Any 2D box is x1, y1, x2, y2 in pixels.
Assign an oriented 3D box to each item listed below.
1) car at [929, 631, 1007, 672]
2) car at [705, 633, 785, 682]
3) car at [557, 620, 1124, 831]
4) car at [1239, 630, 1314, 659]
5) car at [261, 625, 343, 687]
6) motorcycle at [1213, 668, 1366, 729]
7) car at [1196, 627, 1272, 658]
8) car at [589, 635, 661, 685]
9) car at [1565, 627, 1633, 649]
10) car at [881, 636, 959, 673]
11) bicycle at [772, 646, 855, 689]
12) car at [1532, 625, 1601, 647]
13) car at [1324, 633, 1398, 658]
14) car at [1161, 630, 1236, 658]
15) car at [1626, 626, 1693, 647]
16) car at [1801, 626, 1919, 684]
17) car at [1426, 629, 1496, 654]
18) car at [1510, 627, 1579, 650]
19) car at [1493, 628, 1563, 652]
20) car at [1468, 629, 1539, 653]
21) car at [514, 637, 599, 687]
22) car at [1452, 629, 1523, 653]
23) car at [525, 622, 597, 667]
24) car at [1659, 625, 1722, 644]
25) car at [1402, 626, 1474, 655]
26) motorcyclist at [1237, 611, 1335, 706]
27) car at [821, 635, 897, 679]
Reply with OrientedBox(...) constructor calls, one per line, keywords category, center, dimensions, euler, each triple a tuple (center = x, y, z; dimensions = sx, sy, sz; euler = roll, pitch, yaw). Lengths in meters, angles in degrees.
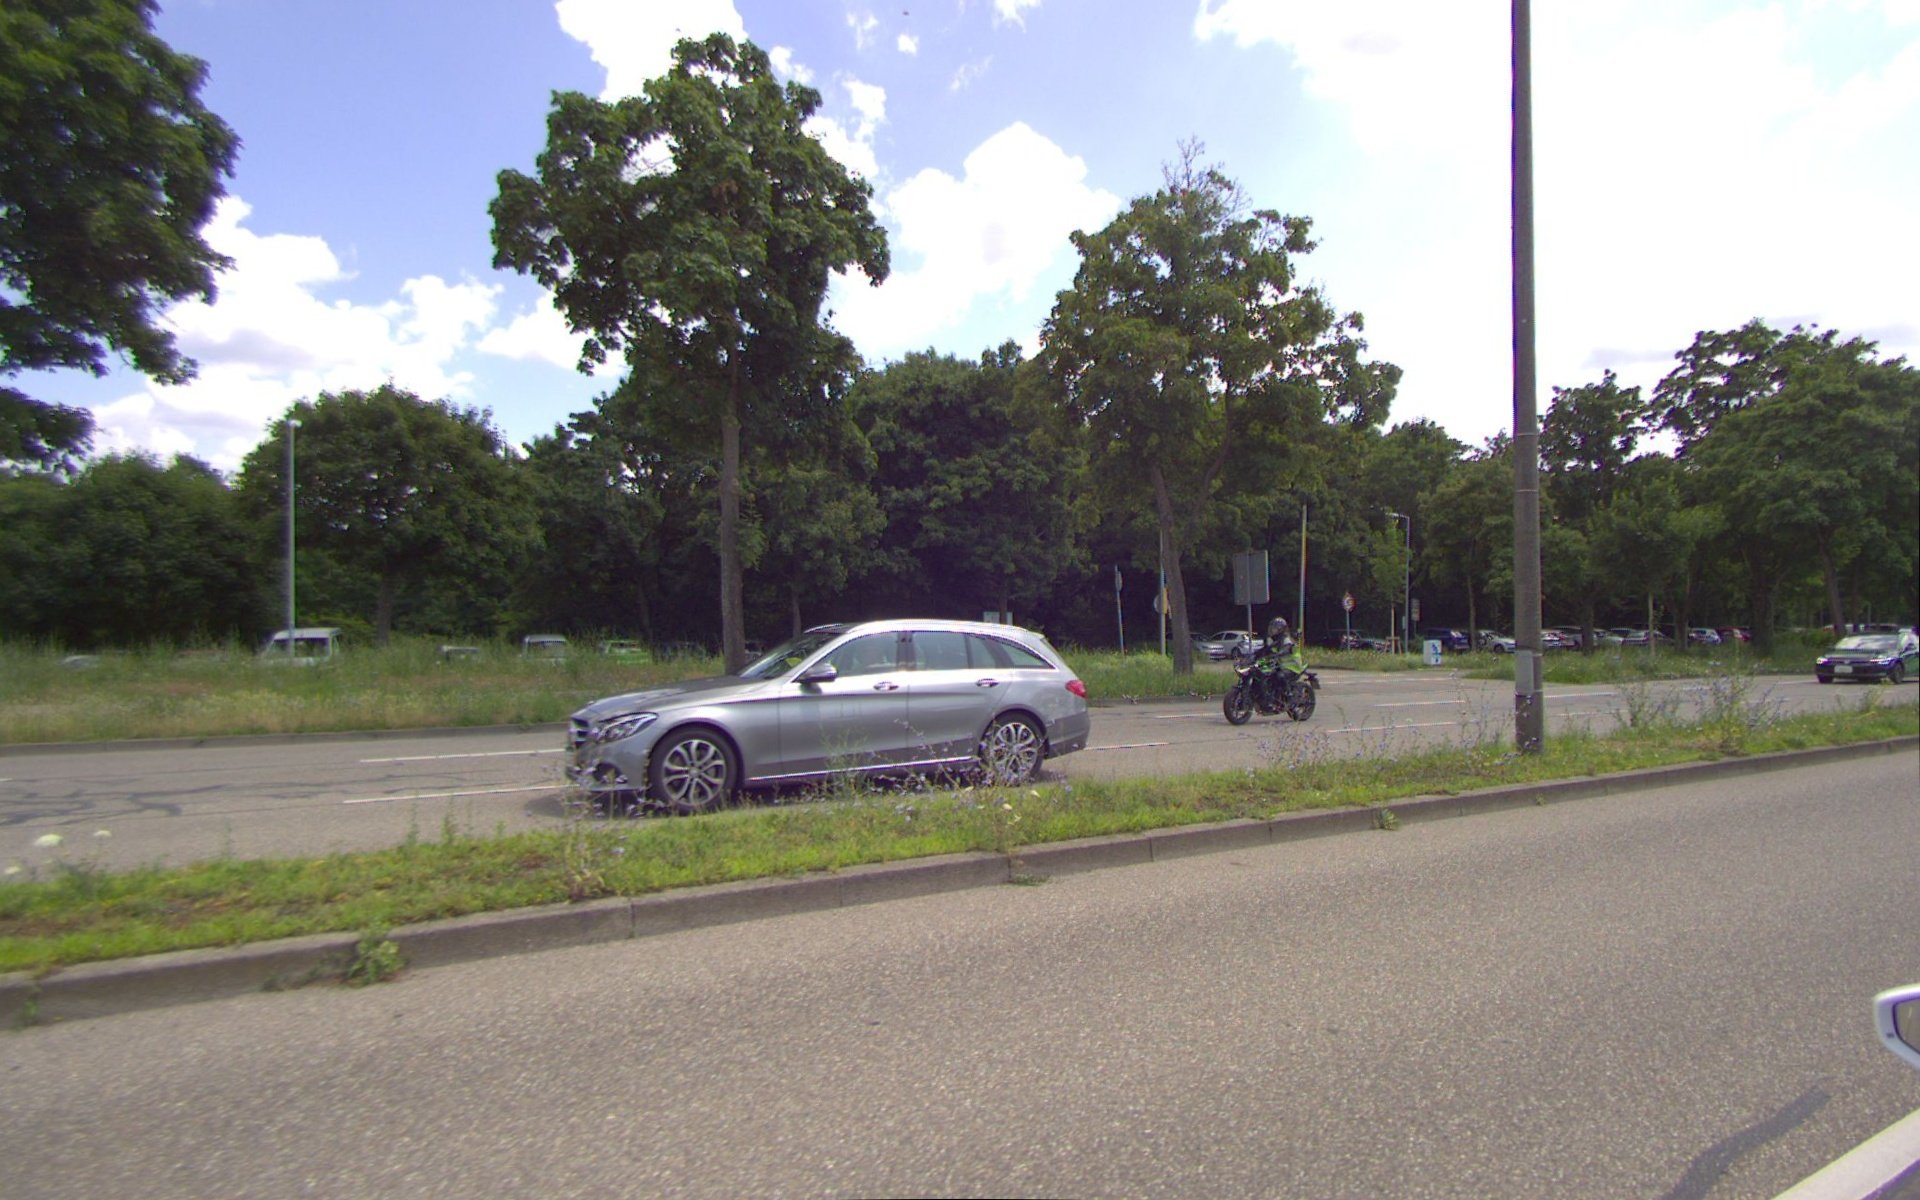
OrientedBox(category="car", center=(0.305, 2.183, 43.015), dimensions=(1.763, 1.528, 3.770), euler=(0, 0, -28))
OrientedBox(category="car", center=(-8.117, 2.099, 37.685), dimensions=(1.677, 1.579, 3.965), euler=(0, 0, -32))
OrientedBox(category="car", center=(-0.943, 0.907, 8.880), dimensions=(4.677, 1.417, 1.802), euler=(0, -1, -30))
OrientedBox(category="car", center=(17.167, 2.386, 54.622), dimensions=(1.764, 1.405, 3.767), euler=(0, 0, -30))
OrientedBox(category="car", center=(-20.288, 1.673, 31.117), dimensions=(1.977, 1.647, 3.966), euler=(0, 0, -31))
OrientedBox(category="motorcycle", center=(5.275, 1.536, 15.997), dimensions=(2.639, 0.782, 0.748), euler=(0, 0, -30))
OrientedBox(category="car", center=(14.490, 2.205, 53.238), dimensions=(1.764, 1.447, 3.767), euler=(0, 0, -30))
OrientedBox(category="car", center=(-12.043, 2.094, 35.966), dimensions=(1.677, 1.559, 3.560), euler=(0, 0, -32))
OrientedBox(category="car", center=(45.902, 2.684, 72.182), dimensions=(1.762, 1.406, 3.773), euler=(0, 0, -26))
OrientedBox(category="car", center=(-1.707, 2.218, 41.439), dimensions=(1.763, 1.284, 3.770), euler=(0, 0, -28))
OrientedBox(category="bicycle", center=(-3.519, 1.614, 24.213), dimensions=(1.895, 0.991, 0.564), euler=(1, -2, -30))
OrientedBox(category="car", center=(42.491, 2.482, 70.452), dimensions=(1.762, 1.406, 3.773), euler=(0, 0, -26))
OrientedBox(category="car", center=(23.257, 2.630, 58.395), dimensions=(1.764, 1.264, 3.767), euler=(0, 0, -30))
OrientedBox(category="car", center=(12.309, 2.266, 52.086), dimensions=(1.763, 1.264, 3.770), euler=(0, 0, -28))
OrientedBox(category="car", center=(52.773, 2.731, 75.826), dimensions=(1.762, 1.406, 3.773), euler=(0, 0, -26))
OrientedBox(category="car", center=(26.293, 1.526, 28.867), dimensions=(4.412, 1.478, 1.747), euler=(0, 0, -28))
OrientedBox(category="car", center=(31.921, 2.617, 64.080), dimensions=(1.762, 1.406, 3.773), euler=(0, 0, -26))
OrientedBox(category="car", center=(40.186, 2.634, 69.120), dimensions=(1.761, 1.406, 3.774), euler=(0, 0, -24))
OrientedBox(category="car", center=(38.119, 2.657, 67.498), dimensions=(1.762, 1.406, 3.773), euler=(0, 0, -26))
OrientedBox(category="car", center=(35.732, 2.654, 66.117), dimensions=(1.762, 1.406, 3.773), euler=(0, 0, -26))
OrientedBox(category="car", center=(-14.011, 2.092, 34.788), dimensions=(1.979, 1.431, 3.962), euler=(0, 0, -34))
OrientedBox(category="car", center=(34.116, 2.628, 65.029), dimensions=(1.762, 1.406, 3.773), euler=(0, 0, -26))
OrientedBox(category="car", center=(-15.571, 1.680, 39.121), dimensions=(1.977, 1.539, 3.966), euler=(0, 0, -31))
OrientedBox(category="car", center=(58.970, 2.746, 81.142), dimensions=(1.762, 1.406, 3.773), euler=(0, 0, -26))
OrientedBox(category="car", center=(29.621, 2.496, 62.328), dimensions=(1.762, 1.589, 3.773), euler=(0, 0, -26))
OrientedBox(category="motorcyclist", center=(5.188, 0.903, 15.977), dimensions=(1.313, 1.433, 0.823), euler=(0, 0, -30))
OrientedBox(category="car", center=(-4.103, 2.245, 40.304), dimensions=(1.763, 1.528, 3.770), euler=(0, 0, -28))
